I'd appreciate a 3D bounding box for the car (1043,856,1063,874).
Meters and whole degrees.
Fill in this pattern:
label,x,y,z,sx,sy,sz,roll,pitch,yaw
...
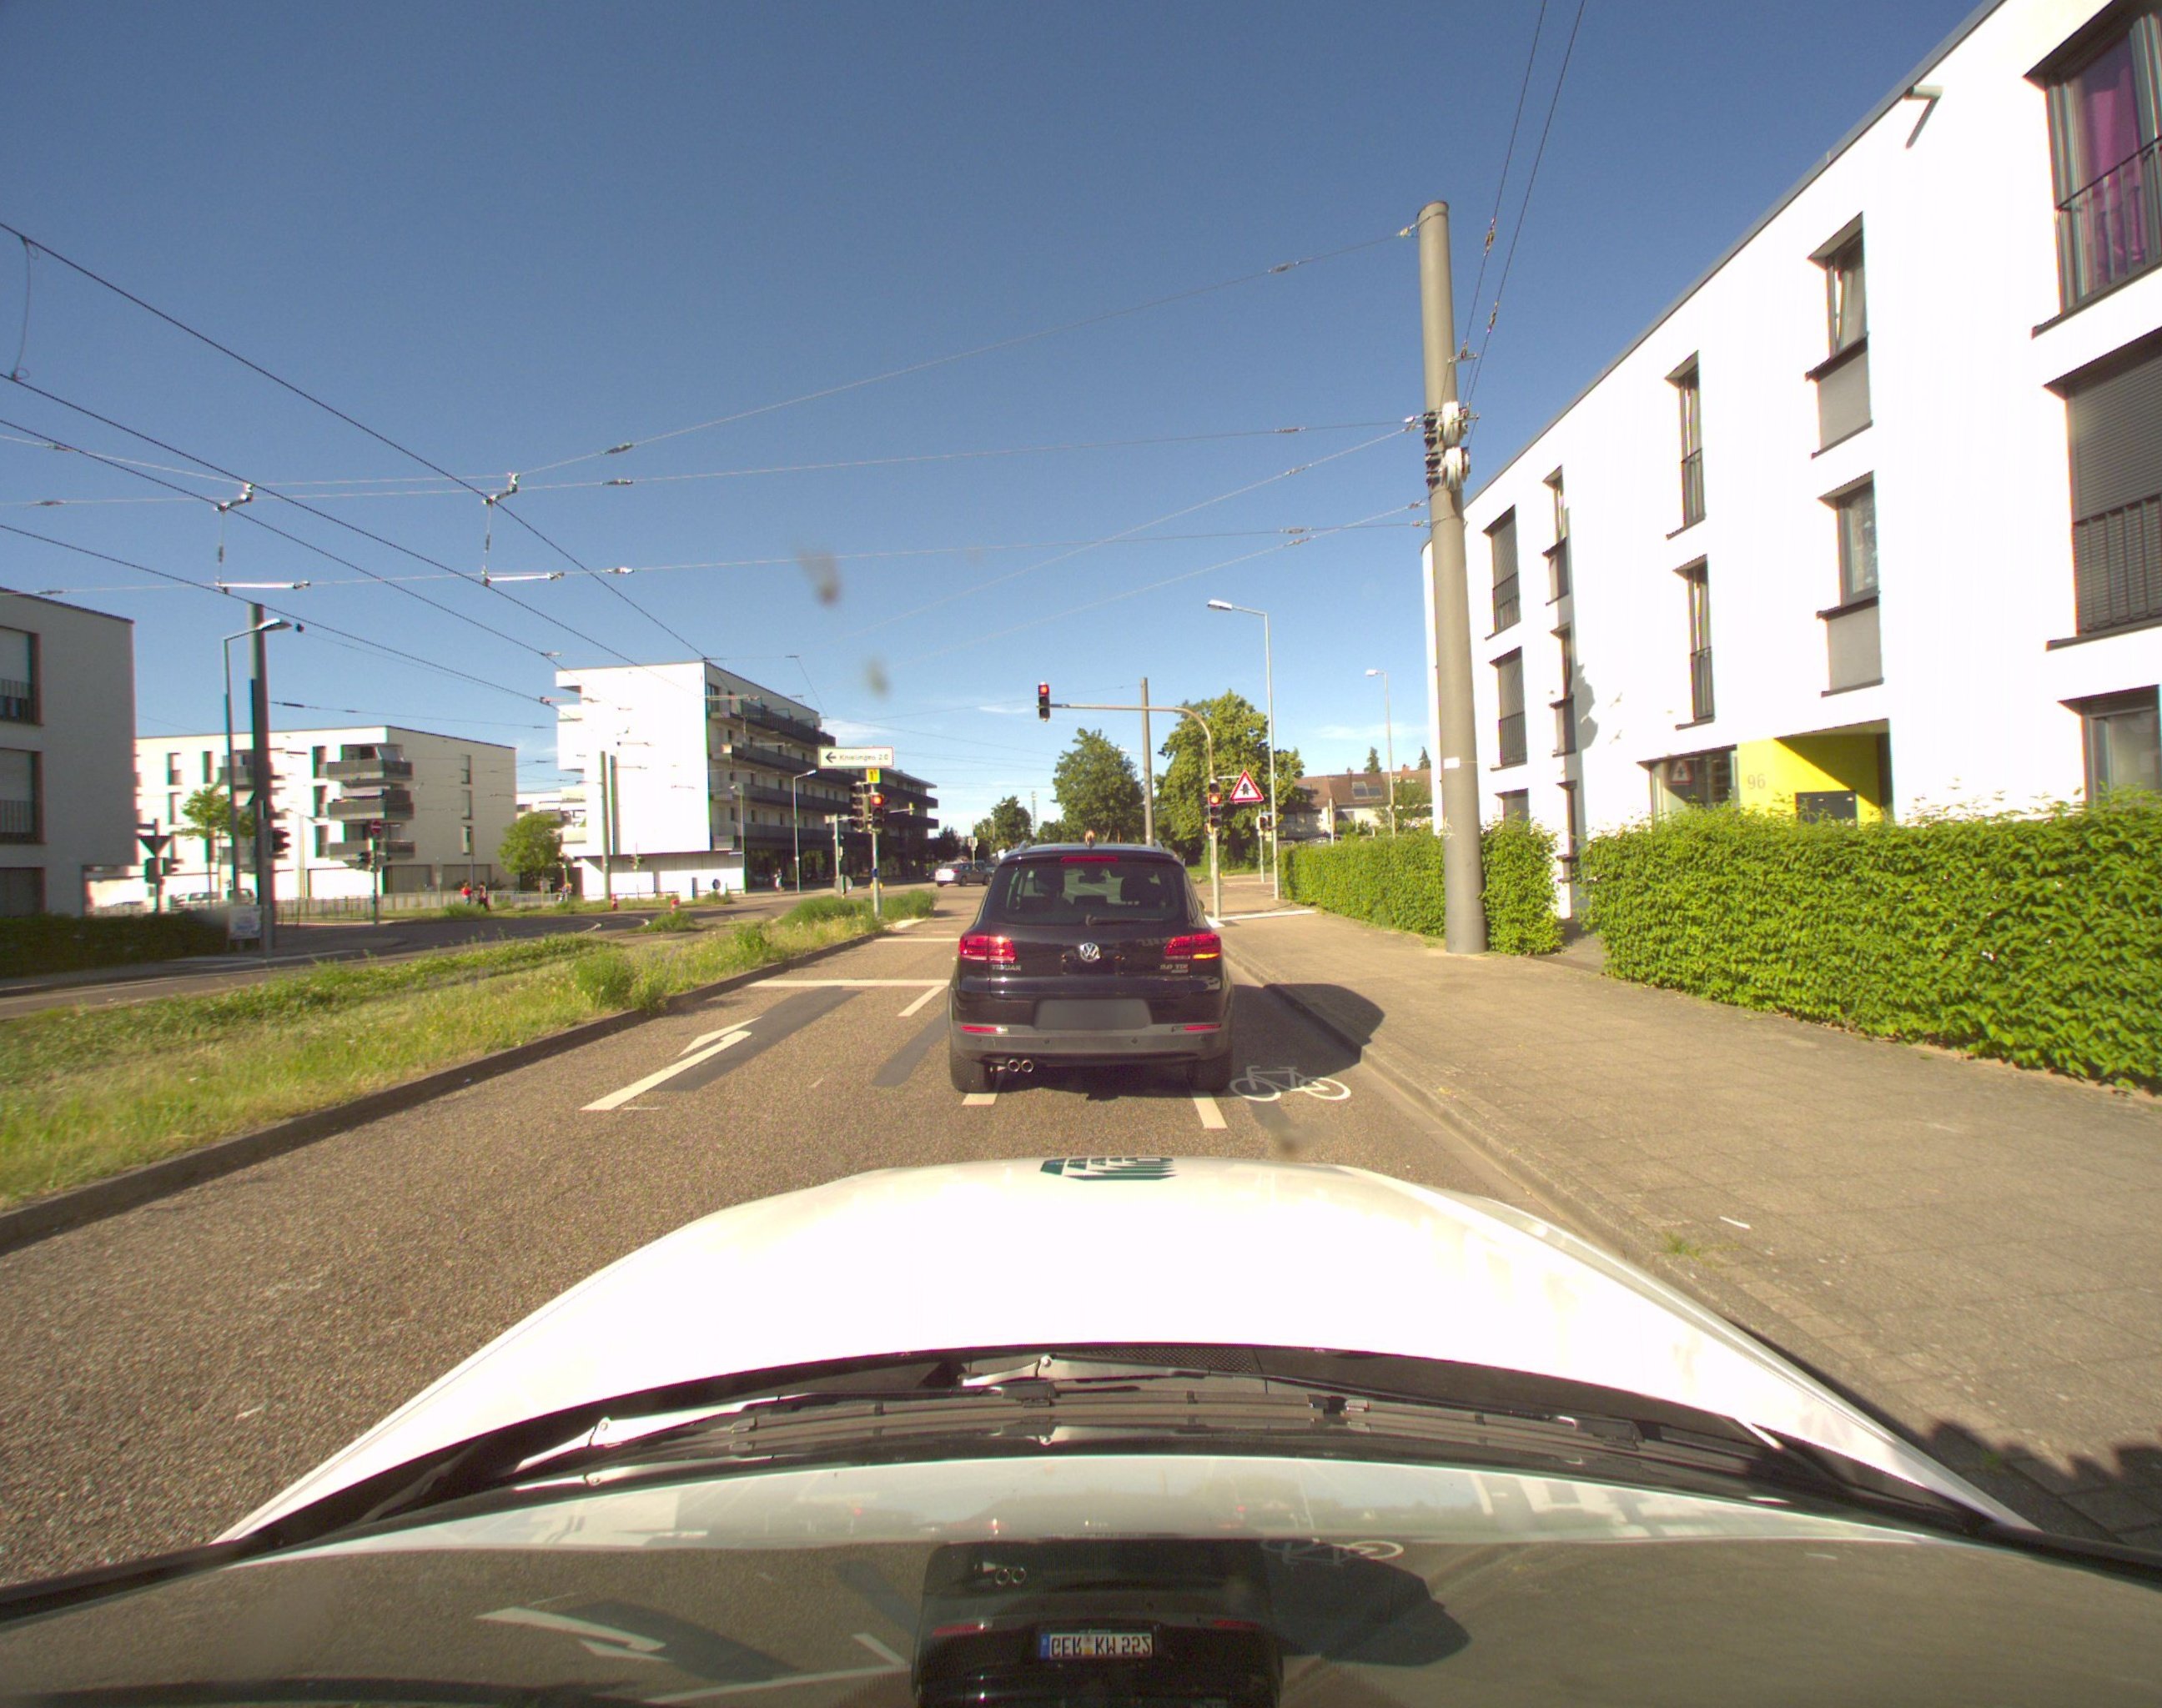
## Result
label,x,y,z,sx,sy,sz,roll,pitch,yaw
car,-2.854,1.115,84.313,1.987,1.836,3.999,0,-1,0

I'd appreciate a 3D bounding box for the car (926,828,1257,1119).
label,x,y,z,sx,sy,sz,roll,pitch,yaw
car,0.122,0.694,6.615,1.862,1.637,4.001,0,-1,2

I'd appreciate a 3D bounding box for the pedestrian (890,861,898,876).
label,x,y,z,sx,sy,sz,roll,pitch,yaw
pedestrian,-19.821,1.521,86.465,0.639,1.509,0.596,0,-1,4

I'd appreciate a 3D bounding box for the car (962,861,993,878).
label,x,y,z,sx,sy,sz,roll,pitch,yaw
car,-10.475,1.559,82.615,1.981,1.574,4.350,-1,-1,9

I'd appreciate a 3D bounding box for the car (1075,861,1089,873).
label,x,y,z,sx,sy,sz,roll,pitch,yaw
car,0.163,1.970,122.310,1.987,1.684,4.000,0,-1,0

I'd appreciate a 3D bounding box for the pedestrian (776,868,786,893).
label,x,y,z,sx,sy,sz,roll,pitch,yaw
pedestrian,-21.715,1.915,58.942,0.542,1.744,0.517,0,-1,-4

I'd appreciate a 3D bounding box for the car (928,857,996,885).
label,x,y,z,sx,sy,sz,roll,pitch,yaw
car,-7.022,0.992,48.351,1.846,1.485,4.135,-3,0,29

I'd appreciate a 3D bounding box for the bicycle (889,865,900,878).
label,x,y,z,sx,sy,sz,roll,pitch,yaw
bicycle,-19.790,1.879,86.632,0.627,1.332,1.914,0,-1,3

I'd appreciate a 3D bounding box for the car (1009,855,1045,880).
label,x,y,z,sx,sy,sz,roll,pitch,yaw
car,-4.020,0.988,61.281,1.852,1.720,3.696,-2,0,9

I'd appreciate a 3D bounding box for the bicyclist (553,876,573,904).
label,x,y,z,sx,sy,sz,roll,pitch,yaw
bicyclist,-30.653,2.111,48.162,0.776,1.614,0.644,-1,-1,18

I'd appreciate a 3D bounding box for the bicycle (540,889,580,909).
label,x,y,z,sx,sy,sz,roll,pitch,yaw
bicycle,-30.696,2.643,48.028,0.813,1.124,1.870,-1,-1,19

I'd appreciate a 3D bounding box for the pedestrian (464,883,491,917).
label,x,y,z,sx,sy,sz,roll,pitch,yaw
pedestrian,-29.073,2.223,39.250,0.769,1.605,0.741,0,-1,-5

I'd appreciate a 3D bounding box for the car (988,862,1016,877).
label,x,y,z,sx,sy,sz,roll,pitch,yaw
car,-8.470,1.648,87.939,1.981,1.574,4.350,-1,-1,9

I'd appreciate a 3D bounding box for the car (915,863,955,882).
label,x,y,z,sx,sy,sz,roll,pitch,yaw
car,-12.874,1.608,72.051,1.980,1.574,4.353,-1,-1,11

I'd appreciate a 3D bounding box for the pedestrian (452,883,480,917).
label,x,y,z,sx,sy,sz,roll,pitch,yaw
pedestrian,-29.787,2.230,39.437,0.769,1.605,0.741,0,-1,-5

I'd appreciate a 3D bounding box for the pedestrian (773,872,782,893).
label,x,y,z,sx,sy,sz,roll,pitch,yaw
pedestrian,-21.748,2.036,58.382,0.440,1.503,0.517,0,-1,-4

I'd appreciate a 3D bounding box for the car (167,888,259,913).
label,x,y,z,sx,sy,sz,roll,pitch,yaw
car,-58.785,3.170,55.204,4.305,1.574,2.002,0,-1,4
